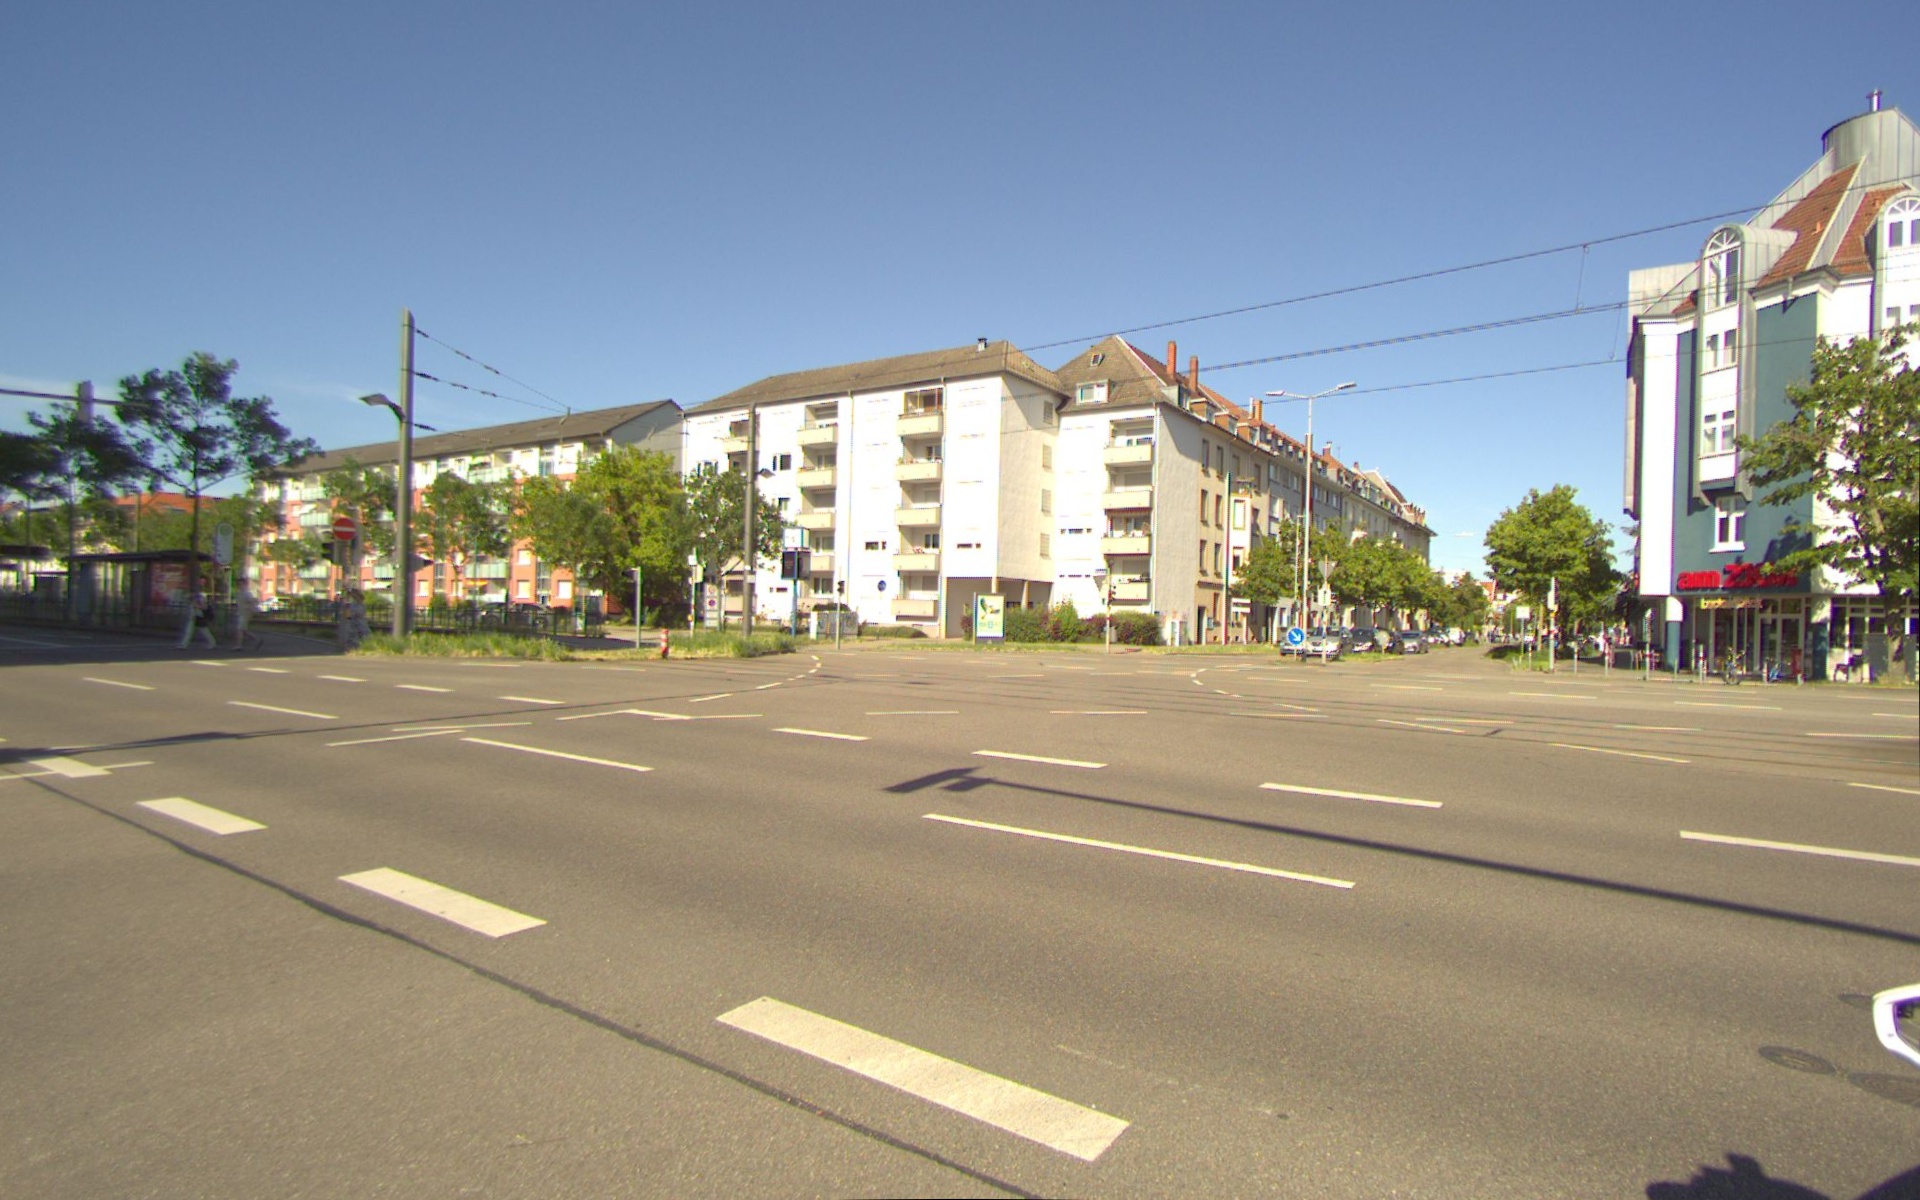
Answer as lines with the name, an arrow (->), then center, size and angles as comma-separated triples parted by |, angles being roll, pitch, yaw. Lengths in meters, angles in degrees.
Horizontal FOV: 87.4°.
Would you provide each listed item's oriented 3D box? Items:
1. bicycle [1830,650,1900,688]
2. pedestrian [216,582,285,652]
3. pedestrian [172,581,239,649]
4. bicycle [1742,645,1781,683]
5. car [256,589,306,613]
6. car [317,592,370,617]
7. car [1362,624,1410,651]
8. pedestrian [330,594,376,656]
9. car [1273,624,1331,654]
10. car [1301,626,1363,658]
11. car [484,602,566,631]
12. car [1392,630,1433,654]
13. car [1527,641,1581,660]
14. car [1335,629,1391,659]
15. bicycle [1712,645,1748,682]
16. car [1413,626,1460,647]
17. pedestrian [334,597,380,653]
bicycle -> 26.525, 2.007, 29.444 | 0.470, 1.041, 1.496 | 2, -1, -45
pedestrian -> -18.606, 0.452, 26.361 | 0.907, 1.794, 1.152 | 1, -1, 29
pedestrian -> -19.927, 0.405, 26.533 | 0.798, 1.749, 1.152 | 1, -1, 29
bicycle -> 23.487, 1.866, 29.454 | 0.464, 1.041, 1.516 | 1, -1, 22
car -> -56.709, 0.084, 83.854 | 3.931, 1.873, 1.995 | 1, -1, 32
car -> -48.010, 0.355, 78.233 | 3.931, 1.873, 1.995 | 1, -1, 32
car -> 25.703, 2.297, 60.531 | 1.666, 1.451, 4.385 | 4, 0, 36
pedestrian -> -17.684, 0.731, 29.286 | 0.799, 1.749, 1.151 | 1, -1, -14
car -> 18.431, 2.093, 54.075 | 1.666, 1.451, 4.385 | 4, 0, 36
car -> 18.668, 2.101, 50.272 | 1.666, 1.451, 4.384 | 4, 0, 37
car -> -26.386, 0.983, 61.123 | 4.330, 1.451, 1.687 | 4, 0, -18
car -> 30.507, 2.851, 67.703 | 1.665, 1.451, 4.386 | 4, 0, 35
car -> 45.991, 3.889, 77.823 | 3.518, 1.239, 1.726 | 2, -2, 34
car -> 22.320, 2.449, 55.550 | 1.667, 1.451, 4.383 | 4, 0, 38
bicycle -> 22.574, 1.850, 29.459 | 0.464, 1.041, 1.515 | 1, -1, 23
car -> 52.582, 4.031, 110.830 | 4.441, 2.040, 1.996 | 2, -2, 32
pedestrian -> -16.984, 0.696, 28.300 | 0.713, 1.554, 0.857 | 1, -1, 29
